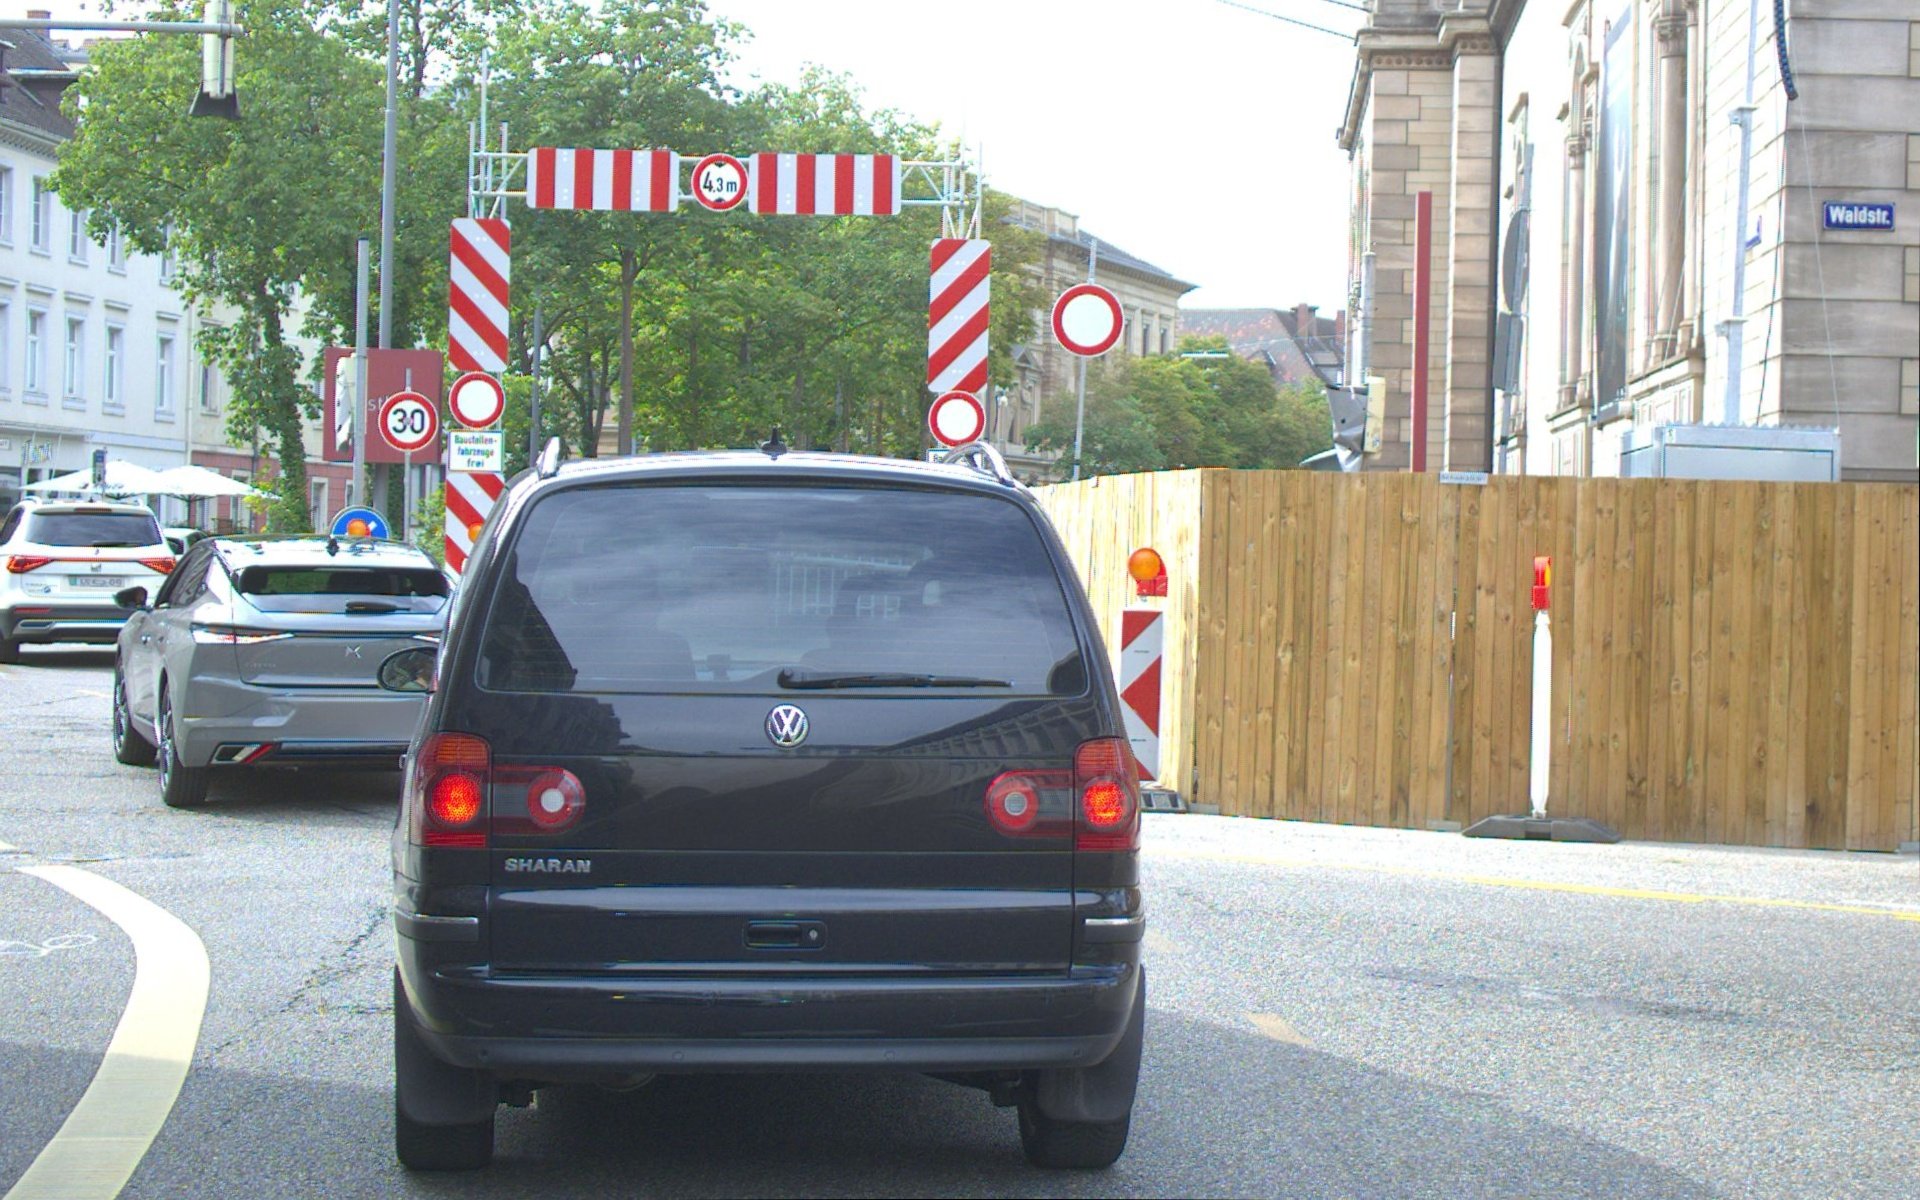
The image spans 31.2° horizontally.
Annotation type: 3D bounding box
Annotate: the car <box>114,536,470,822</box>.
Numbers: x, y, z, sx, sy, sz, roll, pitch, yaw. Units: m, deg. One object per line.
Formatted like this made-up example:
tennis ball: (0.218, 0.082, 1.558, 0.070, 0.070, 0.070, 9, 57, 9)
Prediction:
car: (-3.971, 0.384, 19.966, 1.677, 1.464, 4.104, 1, 1, -16)

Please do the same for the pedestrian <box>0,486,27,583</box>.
pedestrian: (-19.858, -1.369, 71.791, 0.585, 2.007, 0.687, 1, 0, -7)

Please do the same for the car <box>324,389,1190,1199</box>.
car: (-0.580, 0.446, 9.344, 1.789, 1.784, 4.104, 2, 1, -4)

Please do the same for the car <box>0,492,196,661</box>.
car: (-8.933, -0.247, 34.685, 1.772, 1.580, 4.001, 1, 1, -21)

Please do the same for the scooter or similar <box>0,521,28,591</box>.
scooter or similar: (-17.324, -0.798, 62.423, 0.599, 1.251, 1.553, 1, 1, -10)

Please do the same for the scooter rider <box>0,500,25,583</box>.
scooter rider: (-17.322, -1.067, 62.358, 0.599, 1.485, 0.679, 1, 0, -10)
